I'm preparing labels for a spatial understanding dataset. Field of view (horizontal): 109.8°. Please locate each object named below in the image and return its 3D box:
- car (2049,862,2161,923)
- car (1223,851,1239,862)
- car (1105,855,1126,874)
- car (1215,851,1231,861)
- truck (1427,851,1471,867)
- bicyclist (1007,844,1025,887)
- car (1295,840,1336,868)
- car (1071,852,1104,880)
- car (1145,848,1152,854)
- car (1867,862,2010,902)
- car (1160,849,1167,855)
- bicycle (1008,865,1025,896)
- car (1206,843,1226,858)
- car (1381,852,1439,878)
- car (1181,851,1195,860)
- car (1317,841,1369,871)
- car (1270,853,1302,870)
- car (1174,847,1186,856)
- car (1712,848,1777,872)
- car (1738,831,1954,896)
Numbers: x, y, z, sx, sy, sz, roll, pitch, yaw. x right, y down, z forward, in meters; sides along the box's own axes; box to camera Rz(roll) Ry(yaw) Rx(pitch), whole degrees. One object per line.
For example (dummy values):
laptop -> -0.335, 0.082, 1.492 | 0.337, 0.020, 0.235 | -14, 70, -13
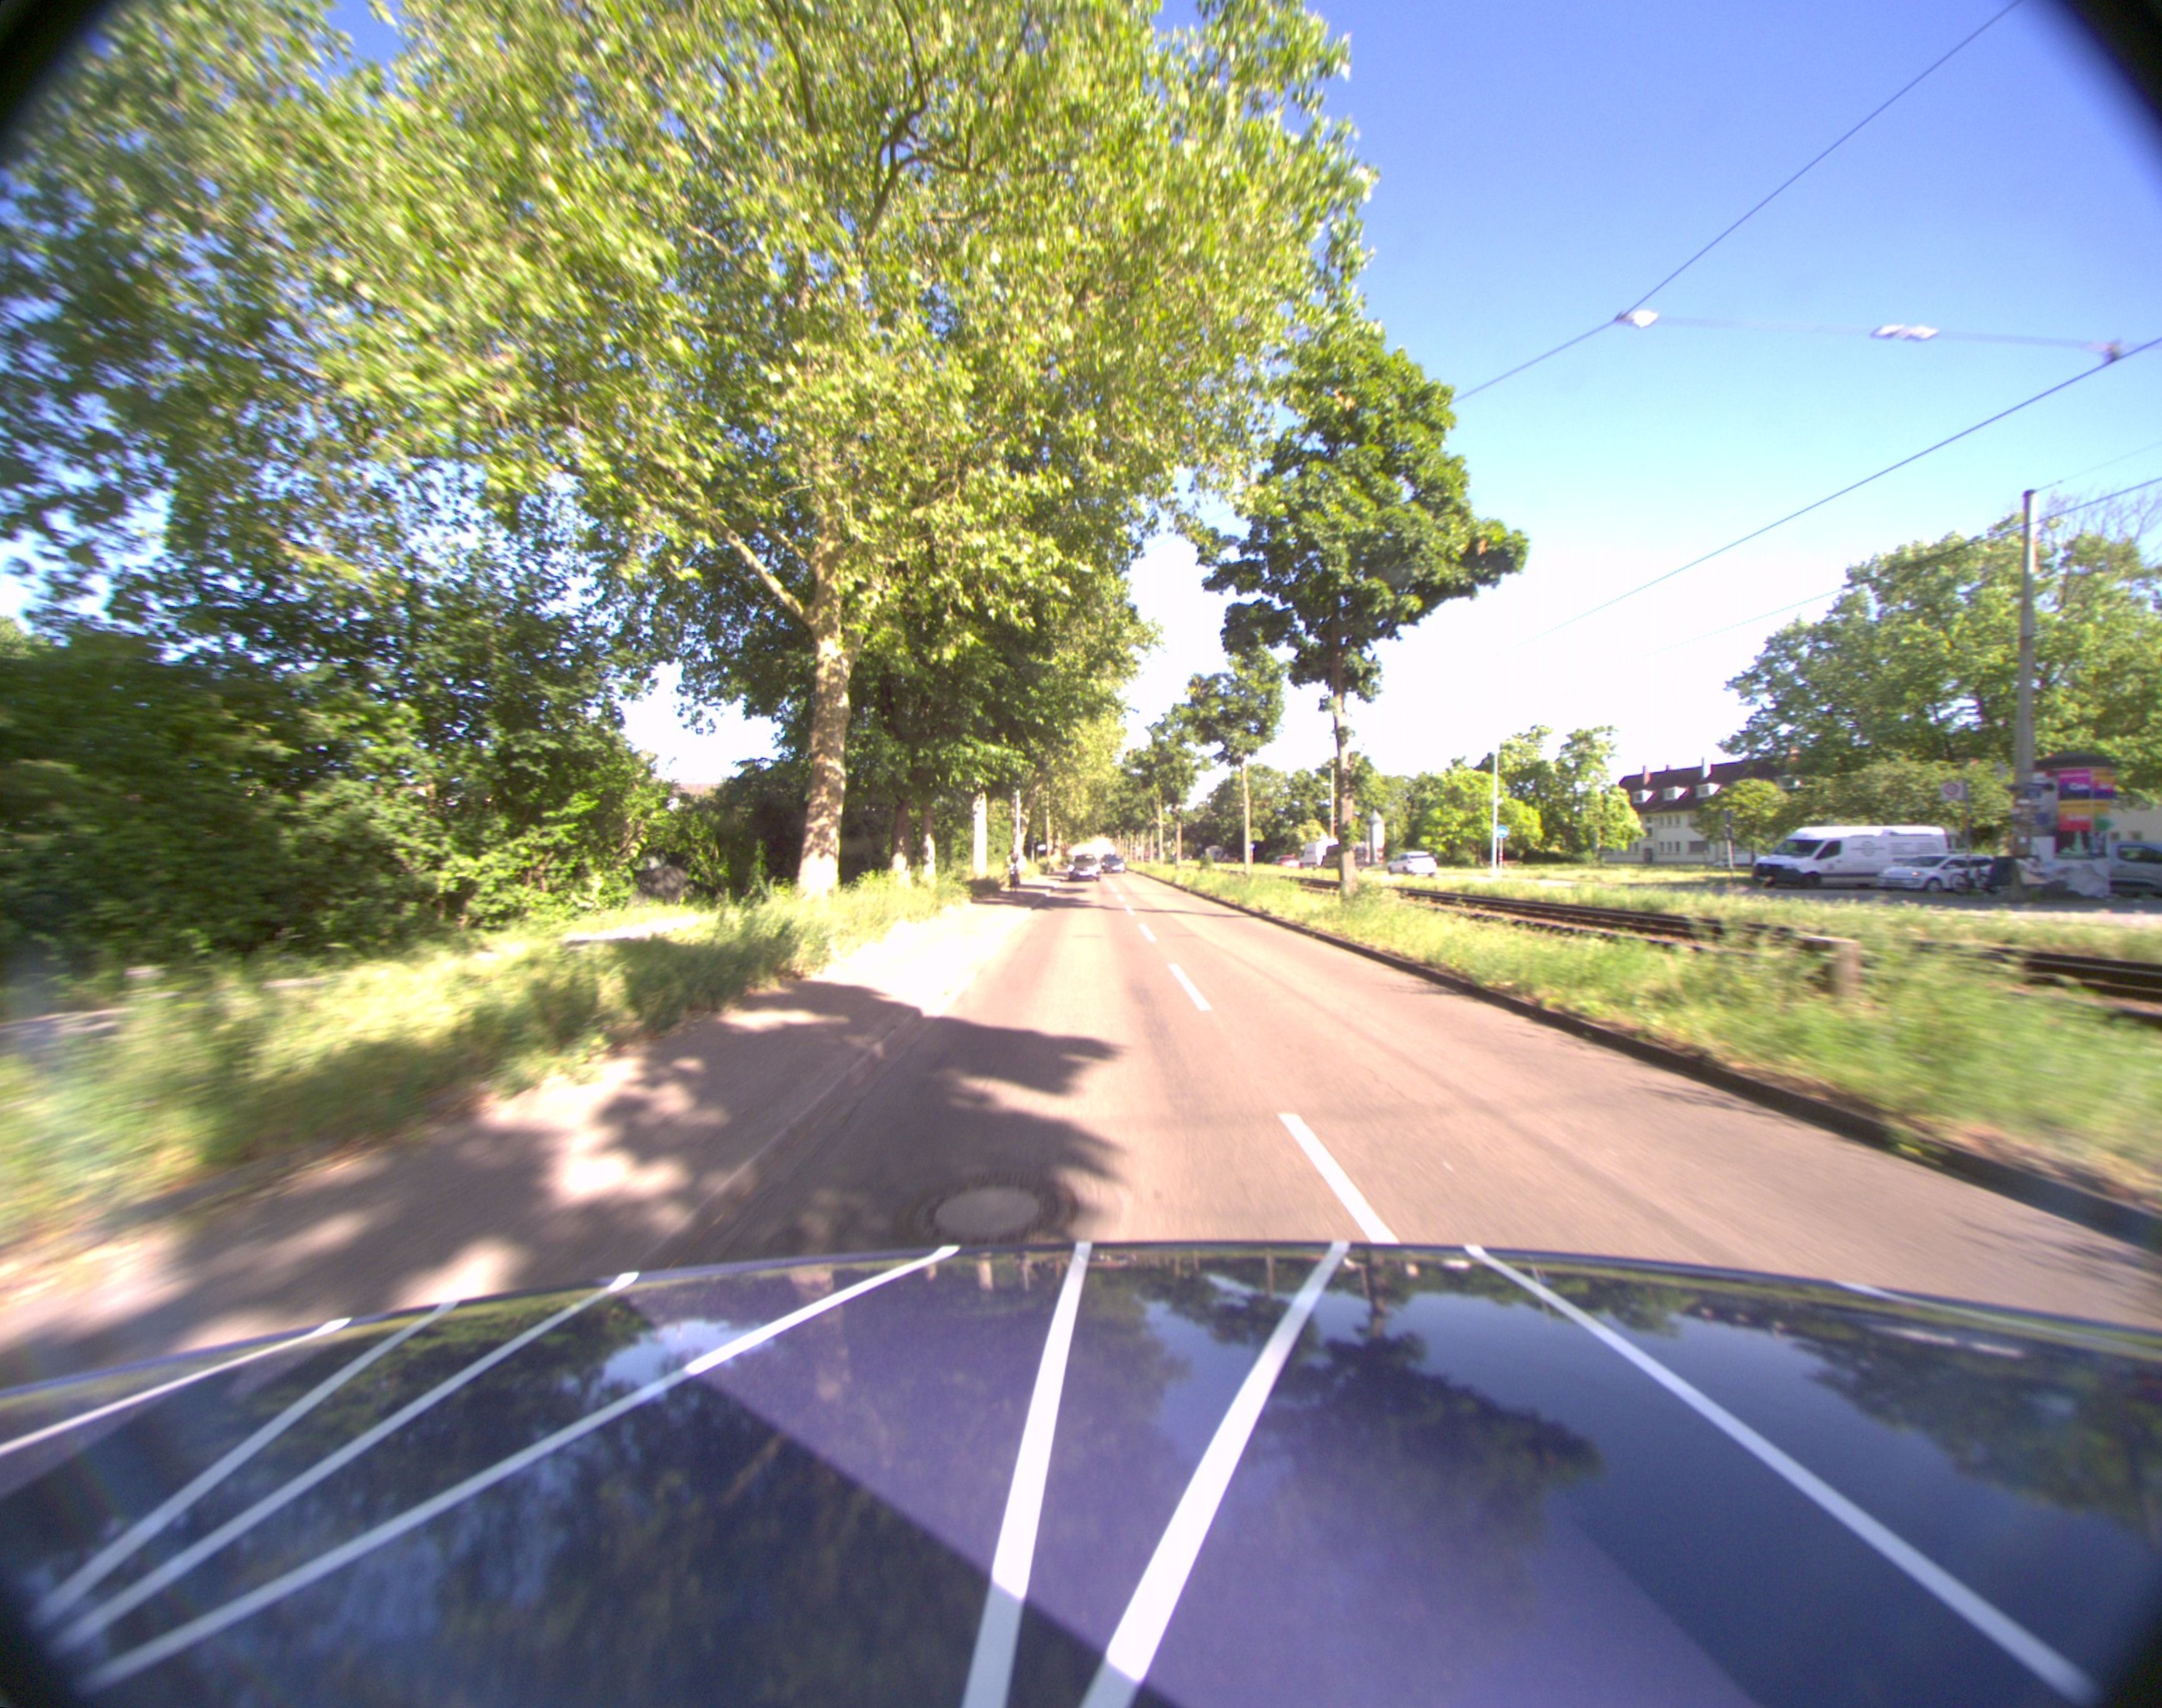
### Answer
car -> 31.760, 1.129, 22.106 | 1.801, 1.660, 4.097 | -1, 1, -8
car -> 22.602, 0.377, 114.617 | 1.678, 1.575, 4.248 | -1, 1, 2
car -> 2.855, 0.887, 63.343 | 1.714, 1.478, 3.547 | -1, 1, 2
car -> 22.695, 0.315, 121.672 | 1.626, 1.613, 4.532 | -1, 1, 0
truck -> 46.525, 0.591, 96.172 | 4.946, 1.858, 2.080 | -1, 1, -19
bicyclist -> -2.481, 0.430, 29.129 | 0.615, 1.619, 0.909 | 0, 1, 1
car -> 22.044, 0.002, 71.650 | 2.006, 2.482, 6.136 | -1, 1, 0
car -> 0.358, 0.661, 43.780 | 1.808, 1.478, 3.546 | -1, 1, 0
car -> 19.470, -0.825, 217.886 | 1.731, 1.519, 4.442 | -1, 1, 1
car -> 32.736, 1.045, 29.064 | 3.624, 1.469, 1.749 | 0, 1, -4
car -> 24.440, -0.592, 226.088 | 1.731, 1.519, 4.442 | -1, 1, 1
bicycle -> -2.466, 0.996, 29.126 | 0.441, 1.146, 1.823 | 0, 0, 1
car -> 22.906, -0.575, 129.131 | 2.231, 2.565, 6.799 | -1, 0, 1
car -> 21.839, 0.691, 50.607 | 1.827, 1.598, 4.773 | -1, 1, 1
car -> 18.674, 0.278, 132.710 | 1.998, 1.522, 3.751 | 0, 0, 2
car -> 21.897, 0.119, 63.705 | 2.188, 2.362, 6.464 | -1, 1, 1
car -> 17.214, 0.623, 64.065 | 1.680, 1.401, 4.000 | 0, 0, 1
car -> 19.738, -0.571, 151.751 | 1.815, 1.734, 4.981 | -1, 1, 1
car -> 59.198, 0.507, 67.887 | 2.000, 2.002, 3.997 | -1, 1, -8
car -> 32.117, 0.380, 32.017 | 7.086, 2.492, 2.330 | -1, 0, -4
